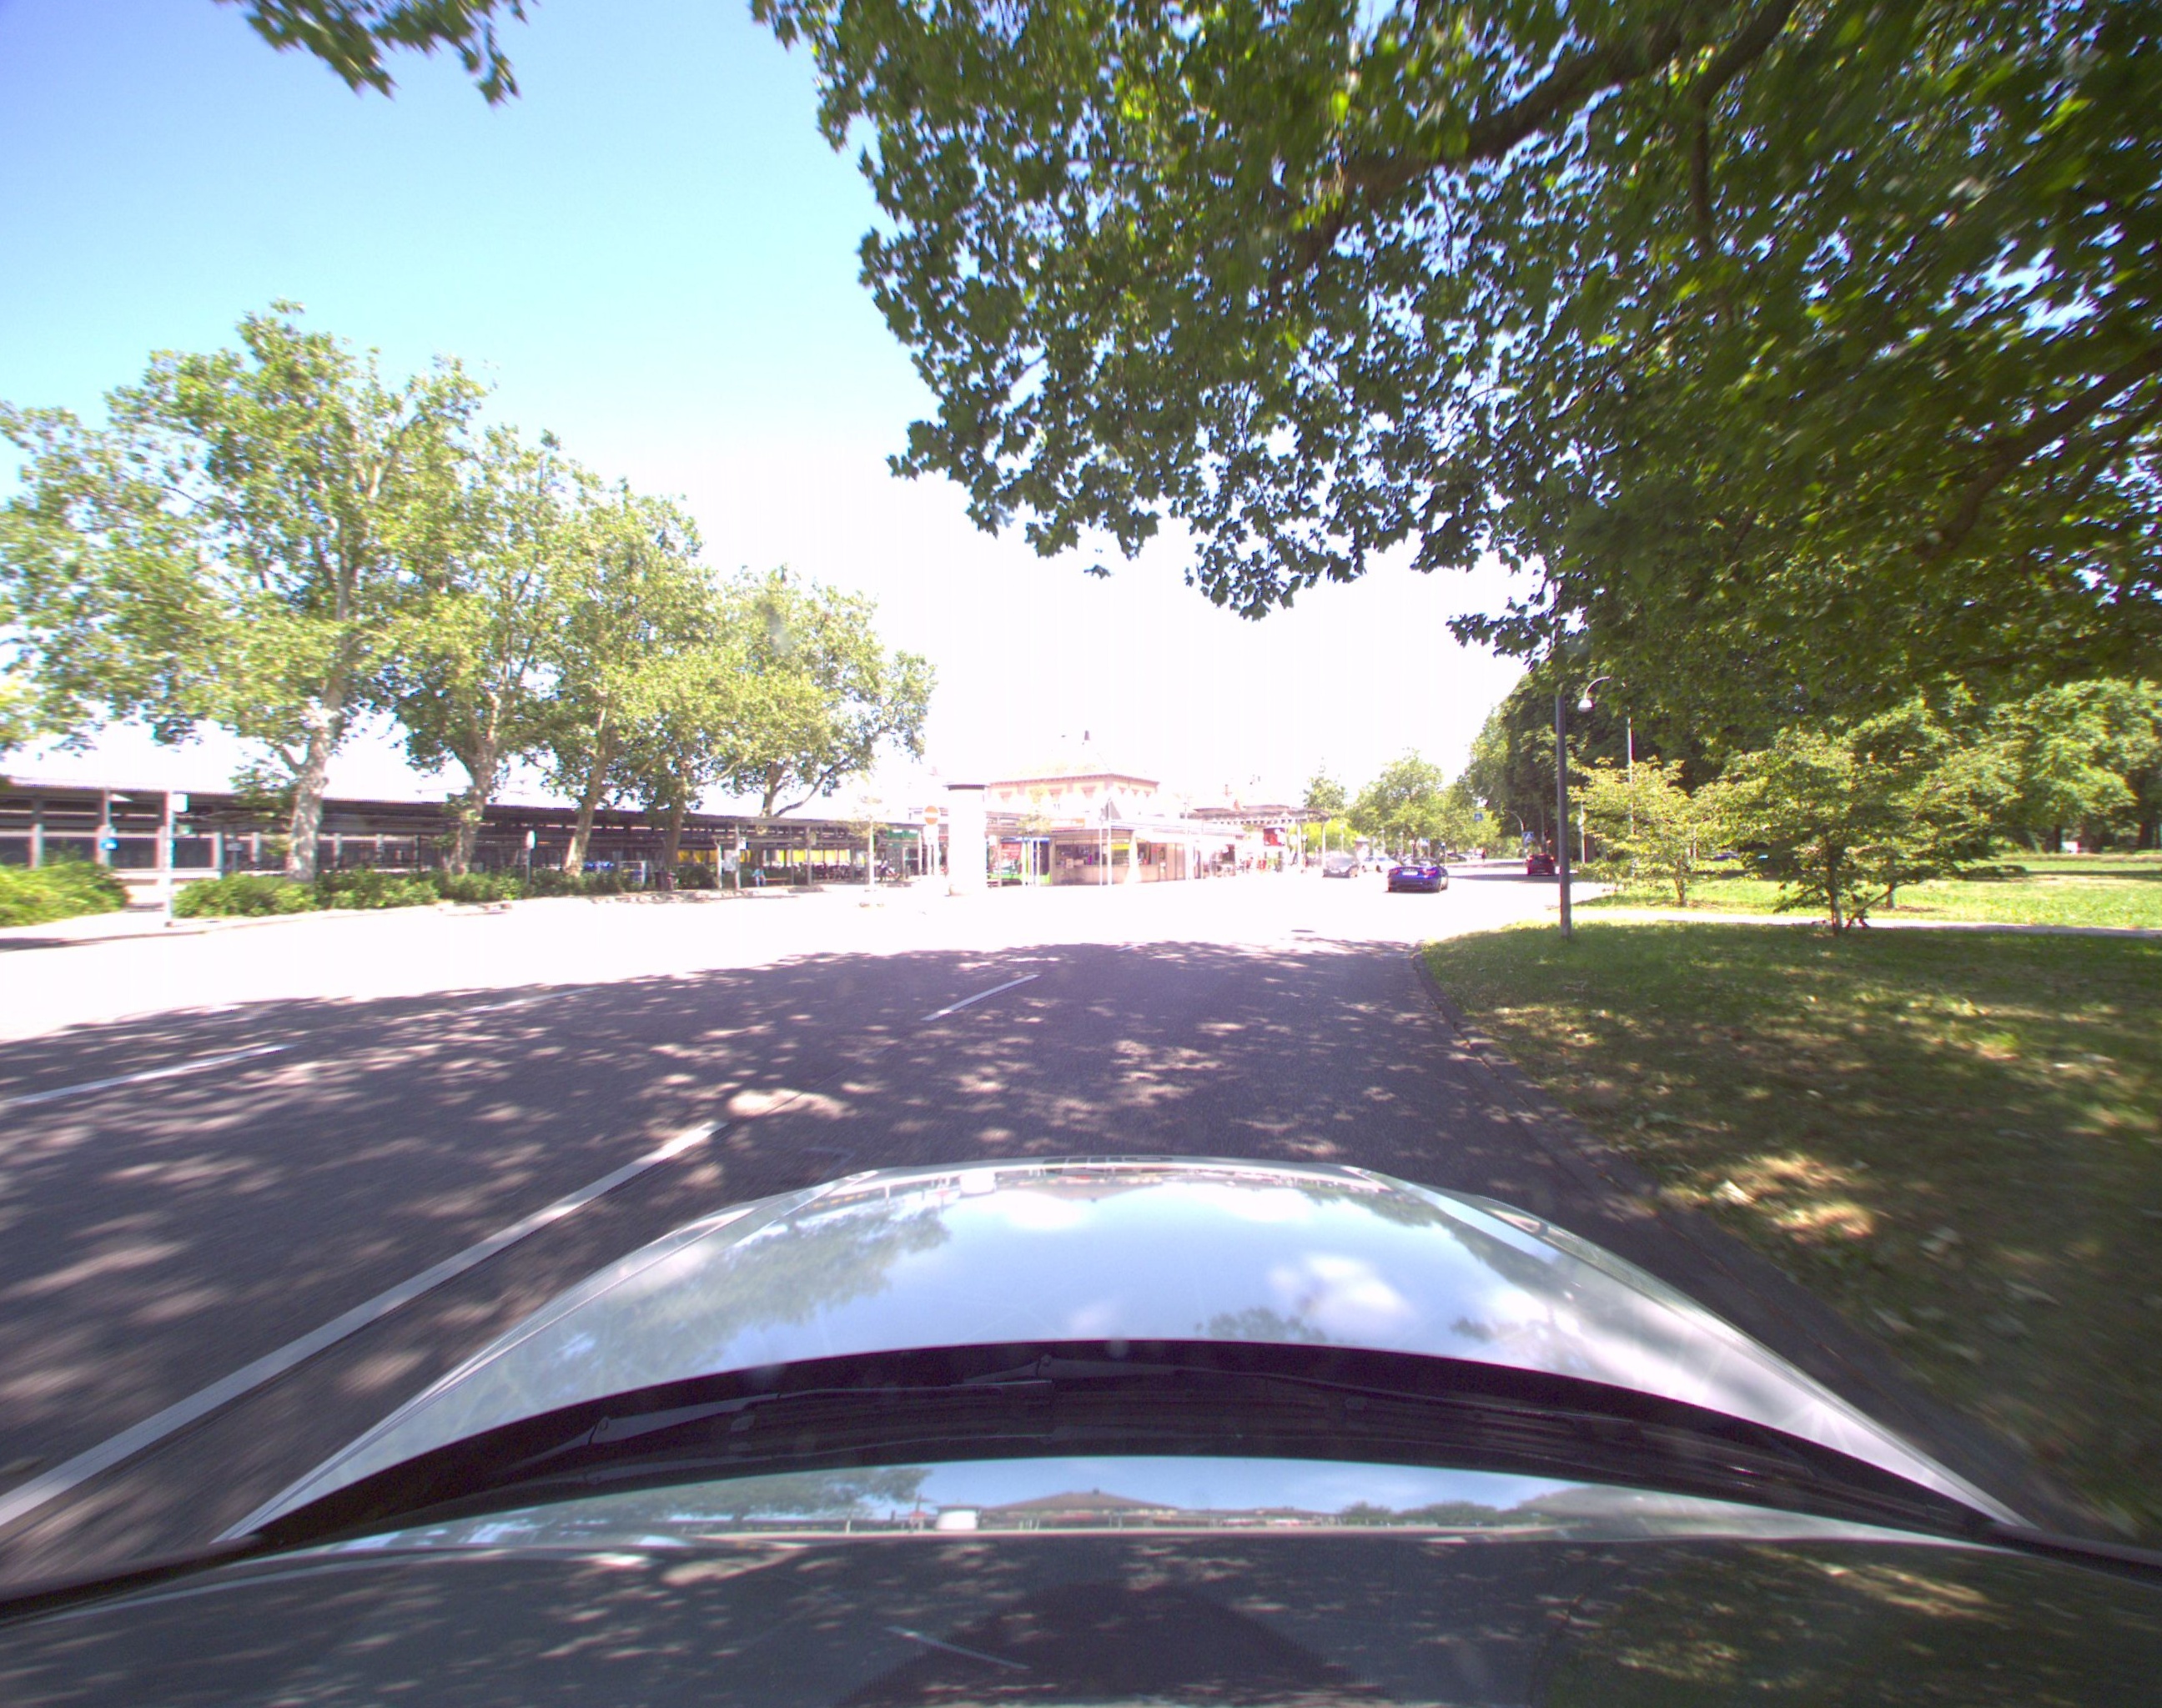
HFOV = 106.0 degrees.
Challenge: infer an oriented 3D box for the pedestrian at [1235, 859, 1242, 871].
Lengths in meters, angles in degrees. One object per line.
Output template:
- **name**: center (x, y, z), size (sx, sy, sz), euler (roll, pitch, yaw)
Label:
- **pedestrian**: center (12.264, 0.864, 63.356), size (0.420, 0.972, 0.374), euler (-2, -3, 42)

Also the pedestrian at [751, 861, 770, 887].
- **pedestrian**: center (-18.423, 1.163, 46.854), size (0.599, 1.464, 0.826), euler (-1, -1, 26)

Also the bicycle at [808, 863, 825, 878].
- **bicycle**: center (-19.563, 1.252, 60.310), size (1.368, 1.094, 0.388), euler (-2, -3, 31)

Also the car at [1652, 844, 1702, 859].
- **car**: center (64.915, -0.267, 88.784), size (4.066, 1.466, 2.012), euler (-1, 0, 28)

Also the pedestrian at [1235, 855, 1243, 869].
- **pedestrian**: center (19.034, 1.012, 98.140), size (0.656, 1.673, 0.628), euler (0, -2, -17)

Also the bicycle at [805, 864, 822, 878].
- **bicycle**: center (-20.277, 1.306, 61.780), size (1.368, 1.094, 0.388), euler (-2, -3, 31)

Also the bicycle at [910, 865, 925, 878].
- **bicycle**: center (-14.063, 1.526, 70.070), size (1.368, 1.094, 0.388), euler (-1, -1, 31)

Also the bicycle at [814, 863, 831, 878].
- **bicycle**: center (-19.284, 1.263, 60.690), size (1.368, 1.094, 0.388), euler (-2, -3, 31)

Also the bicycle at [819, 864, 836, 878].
- **bicycle**: center (-19.031, 1.276, 61.084), size (1.368, 1.094, 0.388), euler (-2, -3, 31)

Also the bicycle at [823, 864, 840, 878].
- **bicycle**: center (-18.814, 1.287, 61.433), size (1.368, 1.094, 0.388), euler (-1, -3, 30)

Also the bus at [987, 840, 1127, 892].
- **bus**: center (-1.126, 0.751, 53.729), size (2.649, 3.041, 13.975), euler (-1, -1, 28)

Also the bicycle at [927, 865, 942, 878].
- **bicycle**: center (-12.547, 1.538, 69.716), size (1.368, 1.094, 0.388), euler (-1, -1, 31)

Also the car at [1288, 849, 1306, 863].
- **car**: center (35.112, 0.323, 132.421), size (1.975, 2.013, 4.024), euler (-1, 1, 27)

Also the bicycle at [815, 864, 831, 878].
- **bicycle**: center (-19.825, 1.329, 62.518), size (1.368, 1.094, 0.388), euler (-2, -3, 31)

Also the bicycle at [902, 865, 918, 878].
- **bicycle**: center (-14.561, 1.526, 69.266), size (1.368, 1.094, 0.388), euler (-1, -1, 31)

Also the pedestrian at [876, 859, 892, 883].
- **pedestrian**: center (-13.417, 1.166, 55.413), size (0.814, 1.617, 0.771), euler (-1, -2, 10)

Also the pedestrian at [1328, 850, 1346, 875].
- **pedestrian**: center (18.898, 0.633, 60.112), size (1.148, 1.828, 0.792), euler (2, -3, -44)

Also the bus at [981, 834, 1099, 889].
- **bus**: center (-2.569, 0.480, 58.138), size (2.141, 3.526, 12.298), euler (-1, 0, 30)

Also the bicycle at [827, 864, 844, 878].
- **bicycle**: center (-18.601, 1.298, 61.792), size (1.368, 1.094, 0.388), euler (-2, -3, 31)

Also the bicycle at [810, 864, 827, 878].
- **bicycle**: center (-20.046, 1.317, 62.148), size (1.368, 1.094, 0.388), euler (-2, -3, 31)

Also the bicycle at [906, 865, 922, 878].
- **bicycle**: center (-14.303, 1.531, 69.681), size (1.368, 1.094, 0.388), euler (-1, -1, 31)

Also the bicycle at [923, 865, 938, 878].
- **bicycle**: center (-12.799, 1.510, 69.317), size (1.368, 1.094, 0.388), euler (-1, -1, 31)

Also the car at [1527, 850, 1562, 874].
- **car**: center (29.958, 0.504, 52.721), size (1.703, 1.478, 3.727), euler (-2, -1, 26)

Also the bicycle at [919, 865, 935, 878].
- **bicycle**: center (-13.032, 1.512, 68.922), size (1.368, 1.094, 0.388), euler (-1, -1, 31)

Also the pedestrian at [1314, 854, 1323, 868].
- **pedestrian**: center (27.953, 0.802, 95.785), size (0.725, 1.659, 0.754), euler (2, -3, -44)

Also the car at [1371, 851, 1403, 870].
- **car**: center (25.646, 0.524, 68.193), size (1.797, 1.444, 4.184), euler (-5, -2, 30)

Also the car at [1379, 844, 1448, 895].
- **car**: center (13.180, 0.579, 32.161), size (2.105, 1.848, 4.072), euler (0, 0, 28)

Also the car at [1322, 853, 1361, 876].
- **car**: center (18.094, 0.701, 56.354), size (1.702, 1.478, 4.815), euler (-2, -1, 28)
